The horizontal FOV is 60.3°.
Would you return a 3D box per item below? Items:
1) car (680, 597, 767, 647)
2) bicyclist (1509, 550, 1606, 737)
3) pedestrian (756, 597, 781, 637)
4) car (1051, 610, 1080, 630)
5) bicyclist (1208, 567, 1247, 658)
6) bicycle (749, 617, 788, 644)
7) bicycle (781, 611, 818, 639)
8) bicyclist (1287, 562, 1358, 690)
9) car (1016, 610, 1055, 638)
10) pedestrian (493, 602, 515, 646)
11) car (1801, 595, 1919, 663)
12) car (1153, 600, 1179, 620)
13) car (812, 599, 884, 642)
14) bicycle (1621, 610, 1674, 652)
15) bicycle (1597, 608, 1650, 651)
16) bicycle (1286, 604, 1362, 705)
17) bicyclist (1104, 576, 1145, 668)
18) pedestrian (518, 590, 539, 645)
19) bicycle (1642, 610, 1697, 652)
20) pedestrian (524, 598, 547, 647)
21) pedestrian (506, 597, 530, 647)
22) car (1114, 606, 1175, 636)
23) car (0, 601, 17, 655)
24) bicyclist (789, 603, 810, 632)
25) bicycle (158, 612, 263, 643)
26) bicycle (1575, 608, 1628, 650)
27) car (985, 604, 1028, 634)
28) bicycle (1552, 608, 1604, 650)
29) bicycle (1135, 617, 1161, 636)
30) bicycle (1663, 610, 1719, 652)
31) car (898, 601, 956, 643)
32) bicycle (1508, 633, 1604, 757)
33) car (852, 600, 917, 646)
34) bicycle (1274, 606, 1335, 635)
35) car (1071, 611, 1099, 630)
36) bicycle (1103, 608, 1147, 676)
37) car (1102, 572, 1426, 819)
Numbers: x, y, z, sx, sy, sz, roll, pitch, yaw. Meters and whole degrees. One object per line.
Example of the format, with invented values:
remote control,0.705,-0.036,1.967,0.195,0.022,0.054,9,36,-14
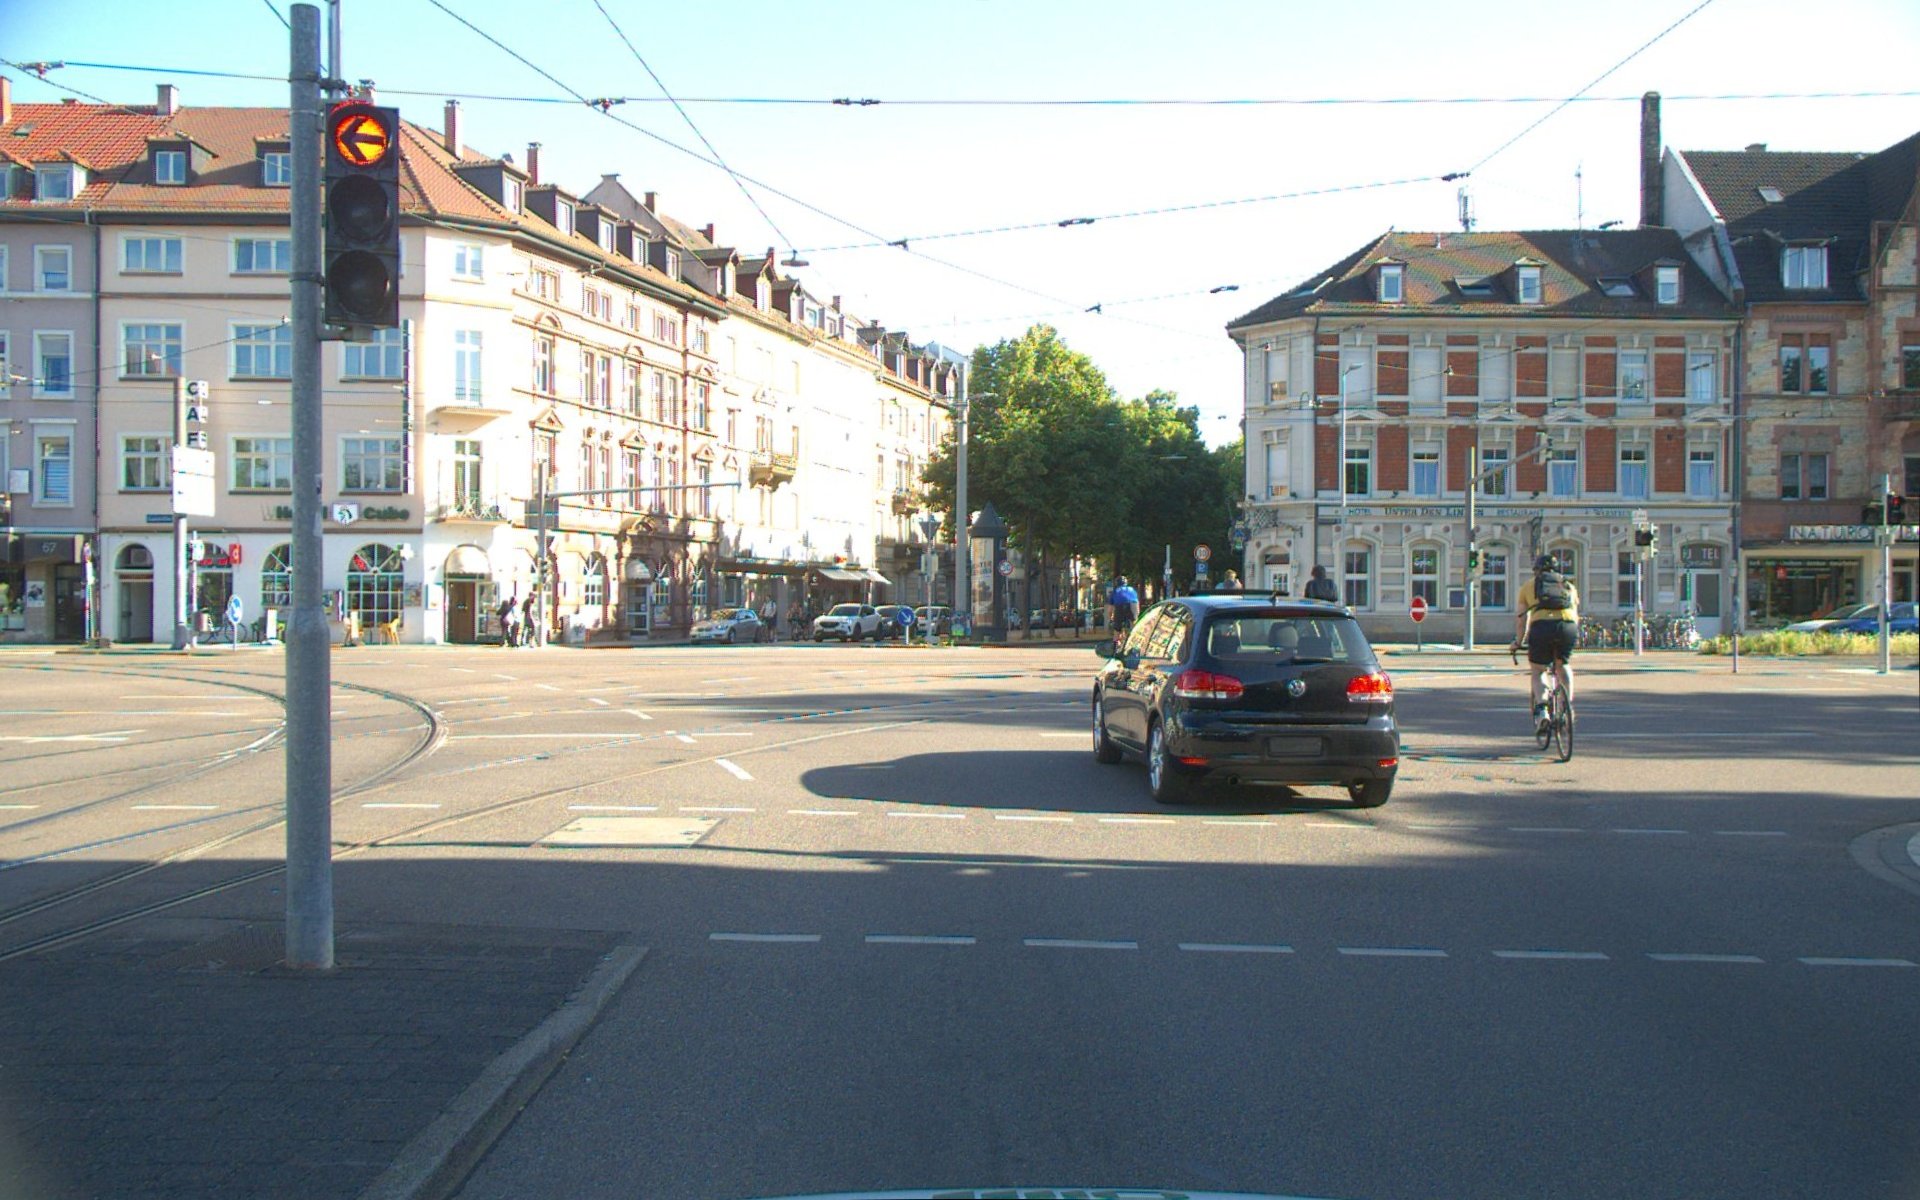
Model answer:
car,-9.528,0.866,66.975,1.951,1.937,4.002,1,0,17
bicyclist,5.591,0.393,15.522,0.789,1.692,0.884,1,-1,16
pedestrian,-7.548,0.657,65.093,0.803,1.539,0.598,1,-1,14
car,8.451,1.613,132.111,1.526,1.540,3.658,1,0,16
bicyclist,5.013,0.230,30.953,0.675,1.662,0.884,1,-1,11
bicycle,-7.536,1.196,65.164,0.746,1.025,2.398,1,0,13
bicycle,-6.802,1.065,70.309,0.637,1.142,2.253,1,0,20
bicyclist,4.769,0.333,21.791,0.789,1.634,0.884,1,0,5
car,5.623,1.765,122.630,1.951,1.937,4.002,1,0,16
pedestrian,-15.708,0.839,57.013,0.620,1.502,0.465,1,-1,-5
car,25.843,0.818,46.178,3.706,1.809,1.999,1,0,-2
car,16.808,0.830,134.964,1.526,1.540,3.658,1,0,16
car,-4.514,0.821,67.289,1.951,1.646,4.003,1,0,11
bicycle,22.078,0.972,53.160,0.615,1.309,2.661,1,0,0
bicycle,21.301,0.929,53.157,0.615,1.309,2.661,1,0,0
bicycle,4.764,0.690,21.740,0.739,1.258,1.704,1,0,5
bicyclist,2.798,0.356,28.162,0.625,1.520,0.884,1,1,3
pedestrian,-15.162,0.623,58.112,0.620,1.914,0.465,1,-1,-5
bicycle,22.793,0.978,53.184,0.615,1.309,2.661,1,0,0
pedestrian,-14.635,0.771,57.036,0.620,1.662,0.700,1,-1,-4
pedestrian,-14.866,0.748,55.676,0.620,1.662,0.700,1,-1,-4
car,12.840,1.458,115.160,3.902,1.937,2.001,1,0,15
car,-32.392,0.895,52.433,3.902,1.699,2.002,0,0,8
bicyclist,-6.817,0.758,70.247,0.618,1.205,0.685,1,-1,20
bicycle,-25.522,0.926,56.355,3.066,0.997,1.001,1,0,-1
bicycle,20.590,0.924,53.136,0.678,1.309,2.661,1,0,0
car,3.170,1.279,112.743,1.951,1.937,4.002,1,0,16
bicycle,19.843,0.908,53.125,0.678,1.309,2.661,1,0,0
bicycle,11.272,1.566,99.231,0.619,1.104,1.685,1,0,-31
bicycle,23.477,0.988,53.183,0.615,1.309,2.661,1,0,0
car,-1.565,1.058,79.547,1.951,1.937,4.003,1,0,11
bicycle,5.561,0.854,15.504,0.739,1.049,1.781,1,0,17
car,-3.322,1.002,73.550,1.951,1.937,4.003,1,0,11
bicycle,11.925,0.709,57.300,2.006,1.015,0.631,0,-1,2
car,10.313,1.687,136.264,1.526,1.540,3.658,1,0,16
bicycle,2.788,0.694,28.012,0.613,1.104,1.703,1,0,2
car,2.164,0.590,12.840,1.693,1.534,4.050,1,2,-1
